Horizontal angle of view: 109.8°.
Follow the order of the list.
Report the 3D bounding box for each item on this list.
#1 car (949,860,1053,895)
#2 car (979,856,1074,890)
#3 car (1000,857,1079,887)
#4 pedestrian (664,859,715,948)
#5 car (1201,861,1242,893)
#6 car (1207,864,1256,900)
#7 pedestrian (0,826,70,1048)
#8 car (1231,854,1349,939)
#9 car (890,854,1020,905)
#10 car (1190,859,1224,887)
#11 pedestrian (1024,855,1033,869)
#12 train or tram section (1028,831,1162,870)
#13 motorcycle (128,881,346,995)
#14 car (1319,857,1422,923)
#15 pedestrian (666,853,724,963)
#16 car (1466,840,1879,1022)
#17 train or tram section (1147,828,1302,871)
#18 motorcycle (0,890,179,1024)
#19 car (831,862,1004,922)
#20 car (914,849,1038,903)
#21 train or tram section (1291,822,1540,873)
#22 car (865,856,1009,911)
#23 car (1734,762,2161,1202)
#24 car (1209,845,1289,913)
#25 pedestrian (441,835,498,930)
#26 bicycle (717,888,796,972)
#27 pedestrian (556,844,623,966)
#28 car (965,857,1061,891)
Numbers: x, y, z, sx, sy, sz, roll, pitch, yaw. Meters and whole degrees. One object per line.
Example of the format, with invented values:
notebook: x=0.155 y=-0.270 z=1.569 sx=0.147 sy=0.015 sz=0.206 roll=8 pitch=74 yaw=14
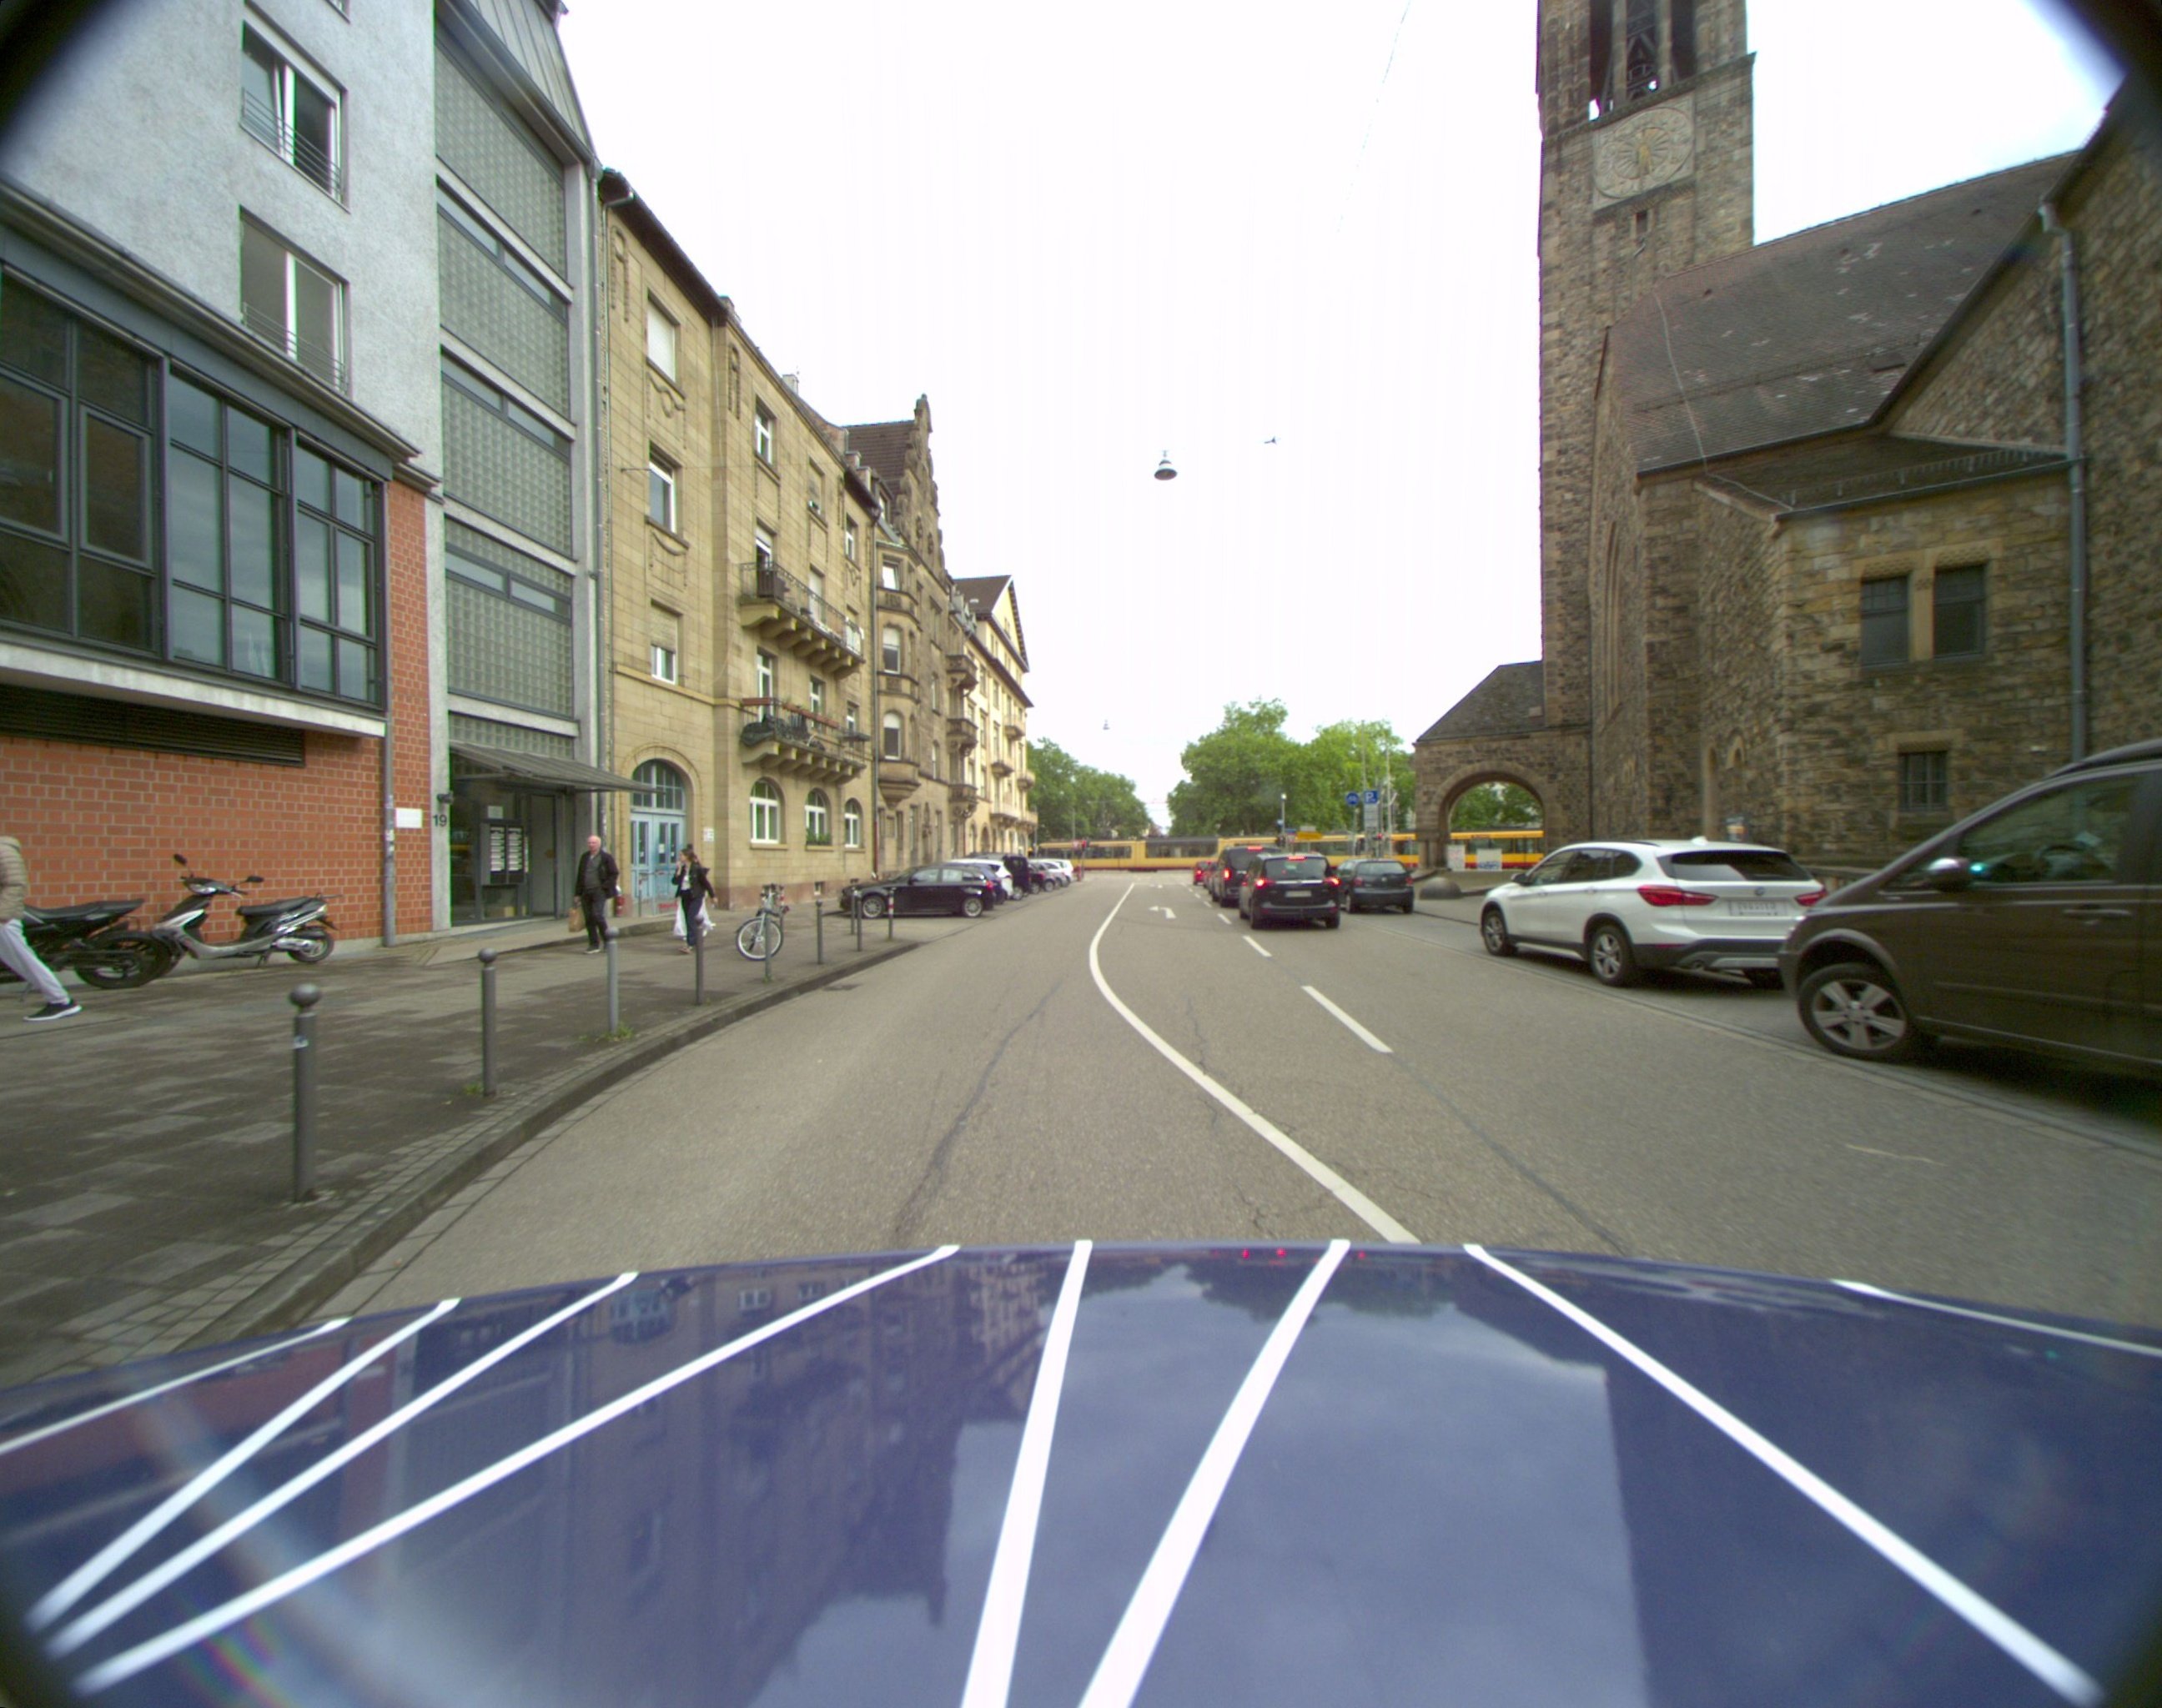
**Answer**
car: x=-3.685 y=1.068 z=35.307 sx=4.474 sy=1.543 sz=1.847 roll=1 pitch=0 yaw=-33
car: x=-2.978 y=1.061 z=41.560 sx=4.761 sy=1.675 sz=1.931 roll=2 pitch=1 yaw=-31
car: x=-2.451 y=1.079 z=44.835 sx=4.232 sy=1.673 sz=1.911 roll=1 pitch=1 yaw=-28
pedestrian: x=-6.947 y=0.861 z=13.501 sx=0.519 sy=1.501 sz=0.717 roll=1 pitch=1 yaw=2
car: x=7.057 y=1.110 z=38.406 sx=1.605 sy=1.448 sz=3.719 roll=2 pitch=1 yaw=5
car: x=6.210 y=1.125 z=31.682 sx=1.708 sy=1.279 sz=4.044 roll=2 pitch=1 yaw=8
pedestrian: x=-8.828 y=0.651 z=5.968 sx=0.631 sy=1.743 sz=0.811 roll=3 pitch=0 yaw=2
car: x=4.581 y=0.871 z=17.296 sx=1.848 sy=1.674 sz=4.551 roll=-1 pitch=0 yaw=6
car: x=-4.317 y=0.899 z=26.238 sx=4.008 sy=1.591 sz=1.761 roll=3 pitch=-1 yaw=-34
car: x=7.347 y=1.091 z=44.491 sx=1.652 sy=1.519 sz=3.896 roll=2 pitch=-1 yaw=6
pedestrian: x=-6.363 y=1.012 z=91.974 sx=0.876 sy=1.686 sz=0.744 roll=0 pitch=2 yaw=31
train or tram section: x=1.376 y=-0.353 z=84.307 sx=14.996 sy=4.070 sz=3.661 roll=0 pitch=1 yaw=32
motorcycle: x=-9.767 y=0.919 z=8.868 sx=0.601 sy=1.186 sz=1.570 roll=1 pitch=-1 yaw=28
car: x=7.772 y=0.898 z=20.709 sx=1.650 sy=1.500 sz=3.773 roll=-2 pitch=1 yaw=6
pedestrian: x=-6.067 y=0.824 z=11.962 sx=0.519 sy=1.653 sz=0.717 roll=1 pitch=2 yaw=2
car: x=6.590 y=0.746 z=9.259 sx=1.847 sy=1.678 sz=4.434 roll=-1 pitch=-1 yaw=5
train or tram section: x=14.155 y=-0.411 z=76.417 sx=14.996 sy=4.070 sz=3.588 roll=0 pitch=1 yaw=32
motorcycle: x=-9.862 y=0.947 z=7.023 sx=0.601 sy=1.137 sz=1.886 roll=1 pitch=0 yaw=31
car: x=-4.419 y=1.048 z=20.707 sx=4.268 sy=1.469 sz=1.681 roll=3 pitch=-1 yaw=-27
car: x=-4.002 y=0.869 z=29.324 sx=4.292 sy=1.895 sz=1.875 roll=3 pitch=-1 yaw=-36
train or tram section: x=29.032 y=-0.506 z=67.278 sx=19.892 sy=4.070 sz=3.634 roll=0 pitch=1 yaw=32
car: x=-4.487 y=0.919 z=23.643 sx=4.006 sy=1.524 sz=1.928 roll=3 pitch=-1 yaw=-24
car: x=5.913 y=0.570 z=3.303 sx=2.017 sy=2.002 sz=5.185 roll=-1 pitch=0 yaw=5
car: x=5.271 y=0.760 z=24.543 sx=1.916 sy=1.943 sz=5.286 roll=-1 pitch=0 yaw=6
pedestrian: x=-11.430 y=0.525 z=14.217 sx=0.541 sy=1.734 sz=0.568 roll=-1 pitch=1 yaw=5
bicycle: x=-4.979 y=1.113 z=11.582 sx=0.731 sy=1.097 sz=1.732 roll=1 pitch=0 yaw=-36
pedestrian: x=-7.365 y=0.742 z=11.401 sx=0.644 sy=1.761 sz=0.541 roll=2 pitch=2 yaw=4
car: x=-3.399 y=1.016 z=38.216 sx=4.474 sy=1.564 sz=1.743 roll=3 pitch=-1 yaw=-33
